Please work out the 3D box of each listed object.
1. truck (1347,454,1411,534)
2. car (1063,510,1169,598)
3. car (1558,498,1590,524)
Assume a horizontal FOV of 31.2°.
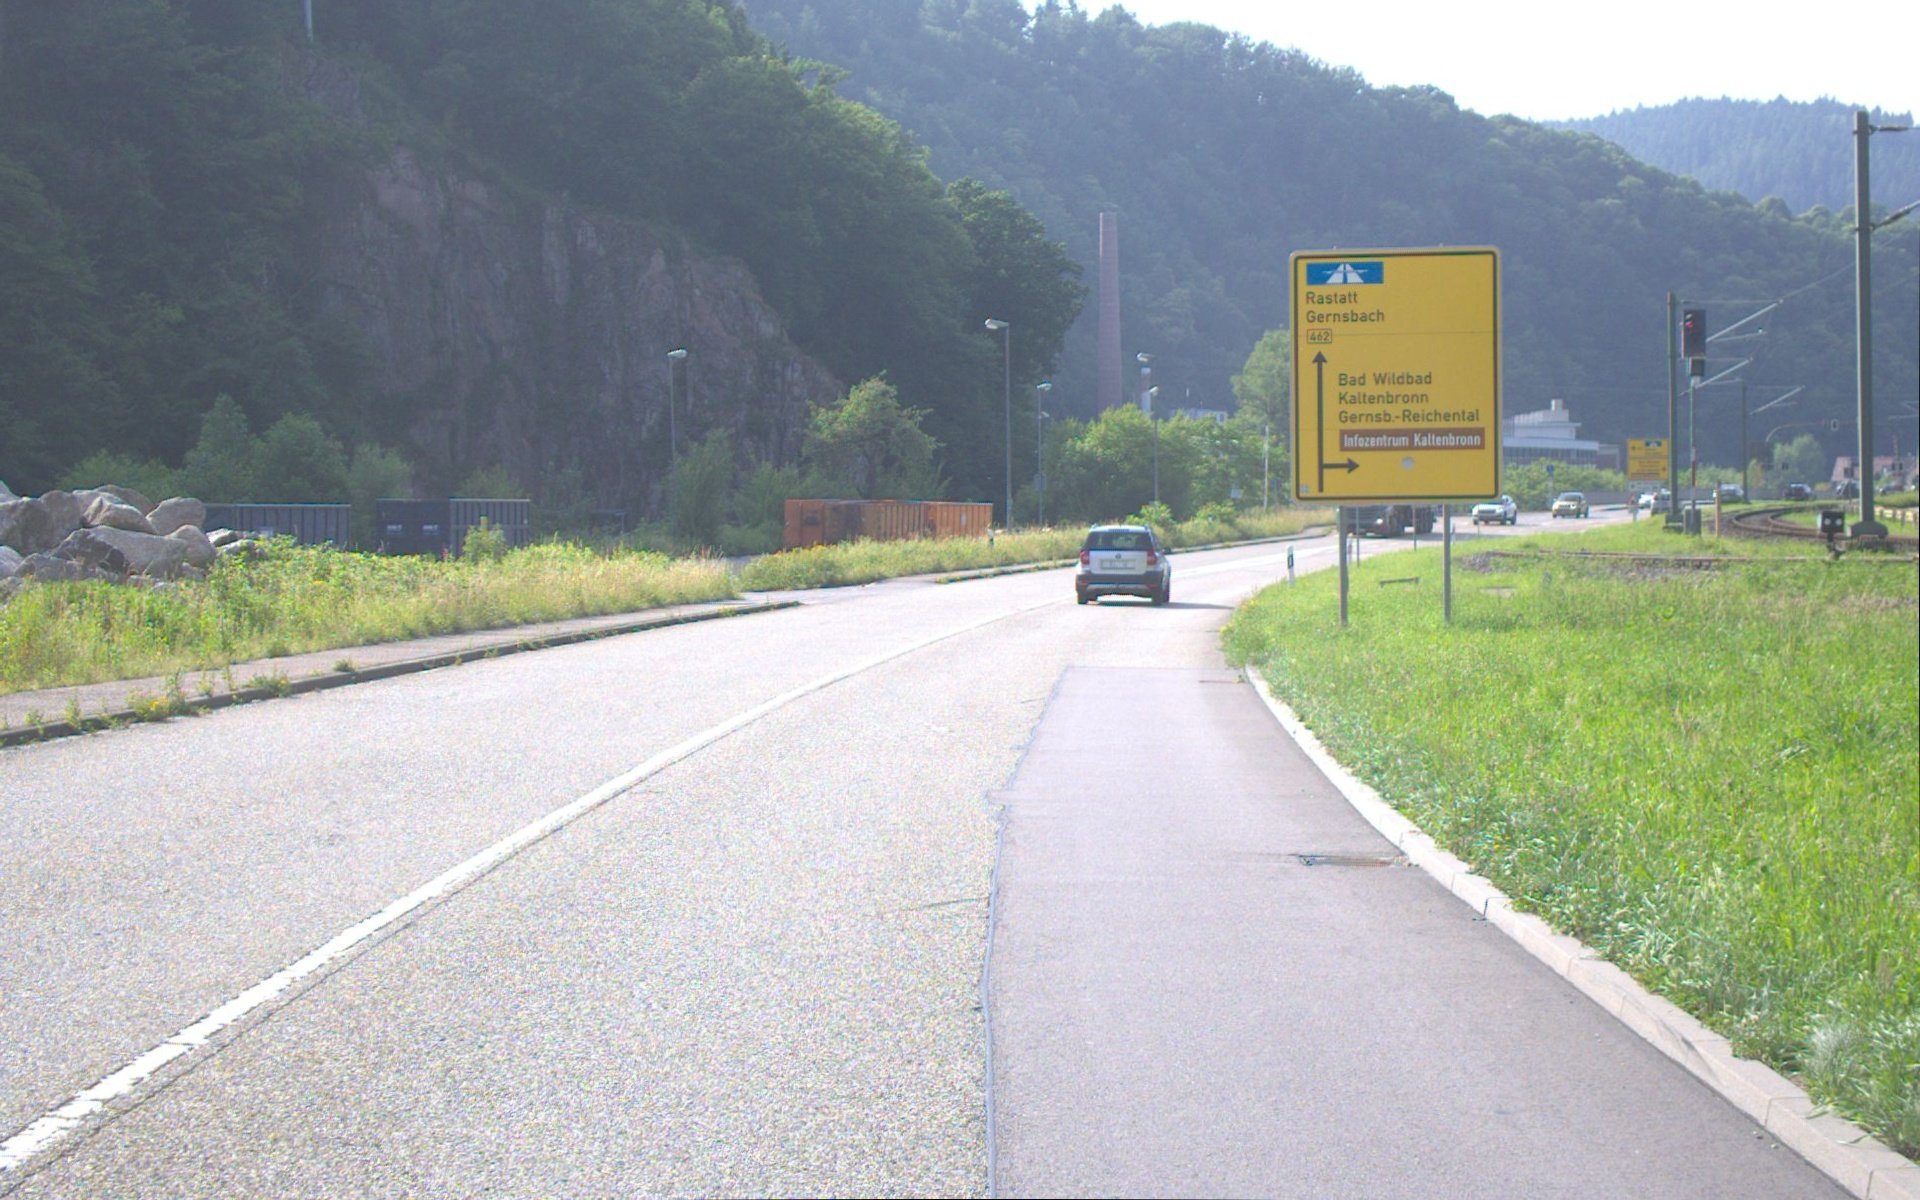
[{"bbox_3d":[20.796,-5.271,170.437,2.751,3.822,8.195,1,2,9],"label":"truck"},{"bbox_3d":[3.291,-0.980,71.876,1.994,1.717,3.990,-2,1,5],"label":"car"},{"bbox_3d":[38.965,-5.662,218.226,1.725,1.619,3.794,2,2,14],"label":"car"}]
